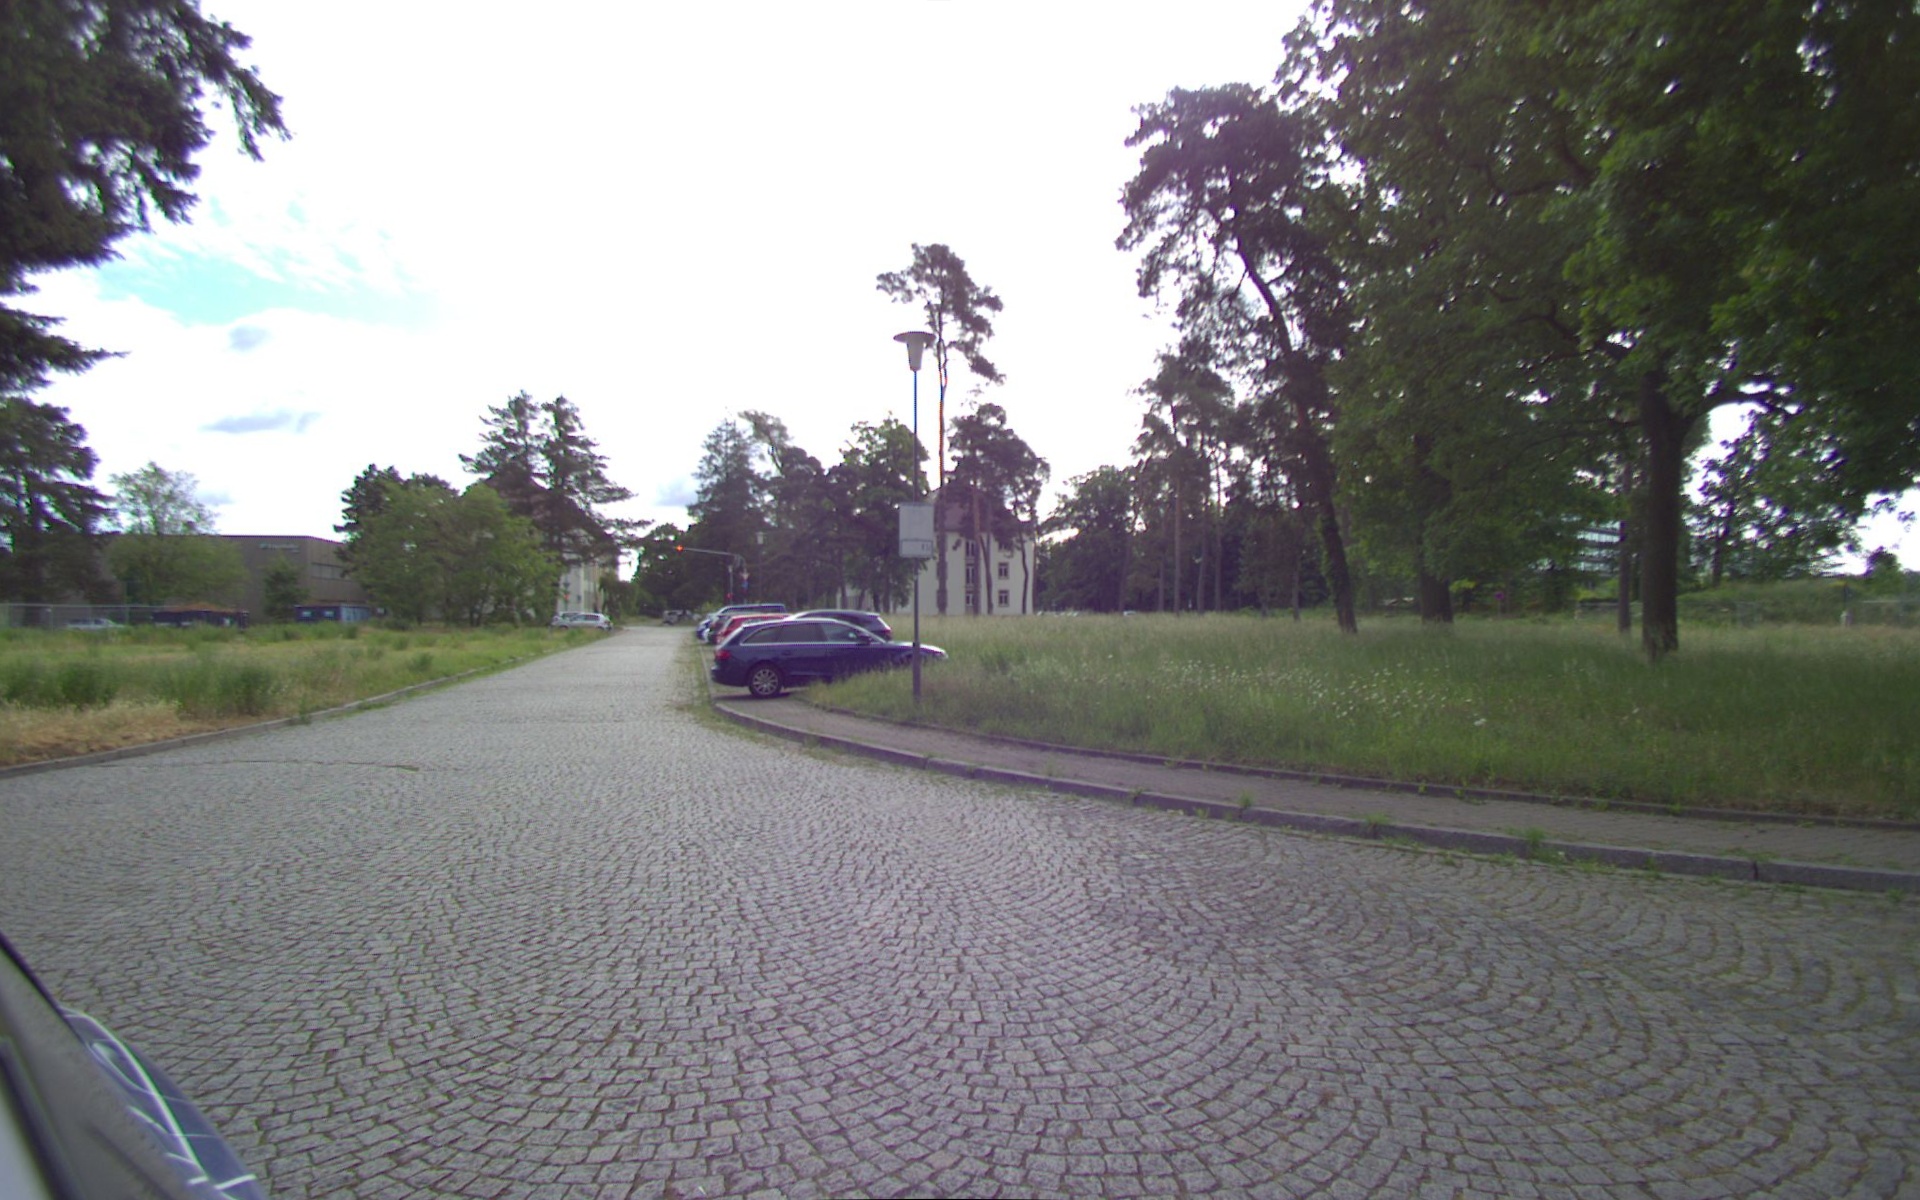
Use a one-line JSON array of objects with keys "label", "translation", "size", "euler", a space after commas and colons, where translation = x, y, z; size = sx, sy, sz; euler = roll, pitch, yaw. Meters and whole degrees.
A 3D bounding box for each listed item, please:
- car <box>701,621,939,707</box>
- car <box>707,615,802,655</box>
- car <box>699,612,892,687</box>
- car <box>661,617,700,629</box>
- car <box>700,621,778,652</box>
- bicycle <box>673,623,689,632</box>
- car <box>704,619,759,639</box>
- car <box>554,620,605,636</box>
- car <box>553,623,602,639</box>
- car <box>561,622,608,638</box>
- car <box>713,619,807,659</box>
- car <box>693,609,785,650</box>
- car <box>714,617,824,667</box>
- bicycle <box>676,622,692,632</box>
[{"label": "car", "translation": [-2.699, 1.166, 19.383], "size": [4.283, 1.415, 1.768], "euler": [-1, -1, -12]}, {"label": "car", "translation": [-8.968, 1.501, 44.028], "size": [3.886, 1.557, 1.769], "euler": [-2, -1, -16]}, {"label": "car", "translation": [-3.924, 1.130, 24.012], "size": [4.291, 1.574, 1.769], "euler": [-1, -1, -16]}, {"label": "car", "translation": [-38.478, 3.122, 139.309], "size": [4.900, 1.634, 1.908], "euler": [0, -1, -22]}, {"label": "car", "translation": [-10.952, 1.777, 50.068], "size": [3.632, 1.349, 1.588], "euler": [-2, -1, -16]}, {"label": "bicycle", "translation": [-33.635, 3.284, 122.140], "size": [1.830, 1.103, 0.512], "euler": [0, -1, -22]}, {"label": "car", "translation": [-17.131, 2.180, 75.796], "size": [3.886, 1.349, 1.588], "euler": [-2, -1, -16]}, {"label": "car", "translation": [-29.016, 2.115, 77.187], "size": [3.535, 1.220, 1.588], "euler": [0, -1, -16]}, {"label": "car", "translation": [-27.197, 2.174, 72.085], "size": [3.213, 1.095, 1.454], "euler": [0, -1, -18]}, {"label": "car", "translation": [-27.598, 2.195, 74.526], "size": [3.213, 1.095, 1.401], "euler": [0, -1, -18]}, {"label": "car", "translation": [-8.214, 1.575, 41.418], "size": [3.601, 1.432, 1.582], "euler": [-2, -1, -16]}, {"label": "car", "translation": [-11.494, 1.510, 52.547], "size": [4.468, 1.916, 1.798], "euler": [-2, -1, -16]}, {"label": "car", "translation": [-6.435, 1.370, 33.942], "size": [3.440, 1.493, 1.607], "euler": [-2, -1, -16]}, {"label": "bicycle", "translation": [-33.640, 3.291, 123.448], "size": [1.830, 1.103, 0.512], "euler": [0, -1, -22]}]
